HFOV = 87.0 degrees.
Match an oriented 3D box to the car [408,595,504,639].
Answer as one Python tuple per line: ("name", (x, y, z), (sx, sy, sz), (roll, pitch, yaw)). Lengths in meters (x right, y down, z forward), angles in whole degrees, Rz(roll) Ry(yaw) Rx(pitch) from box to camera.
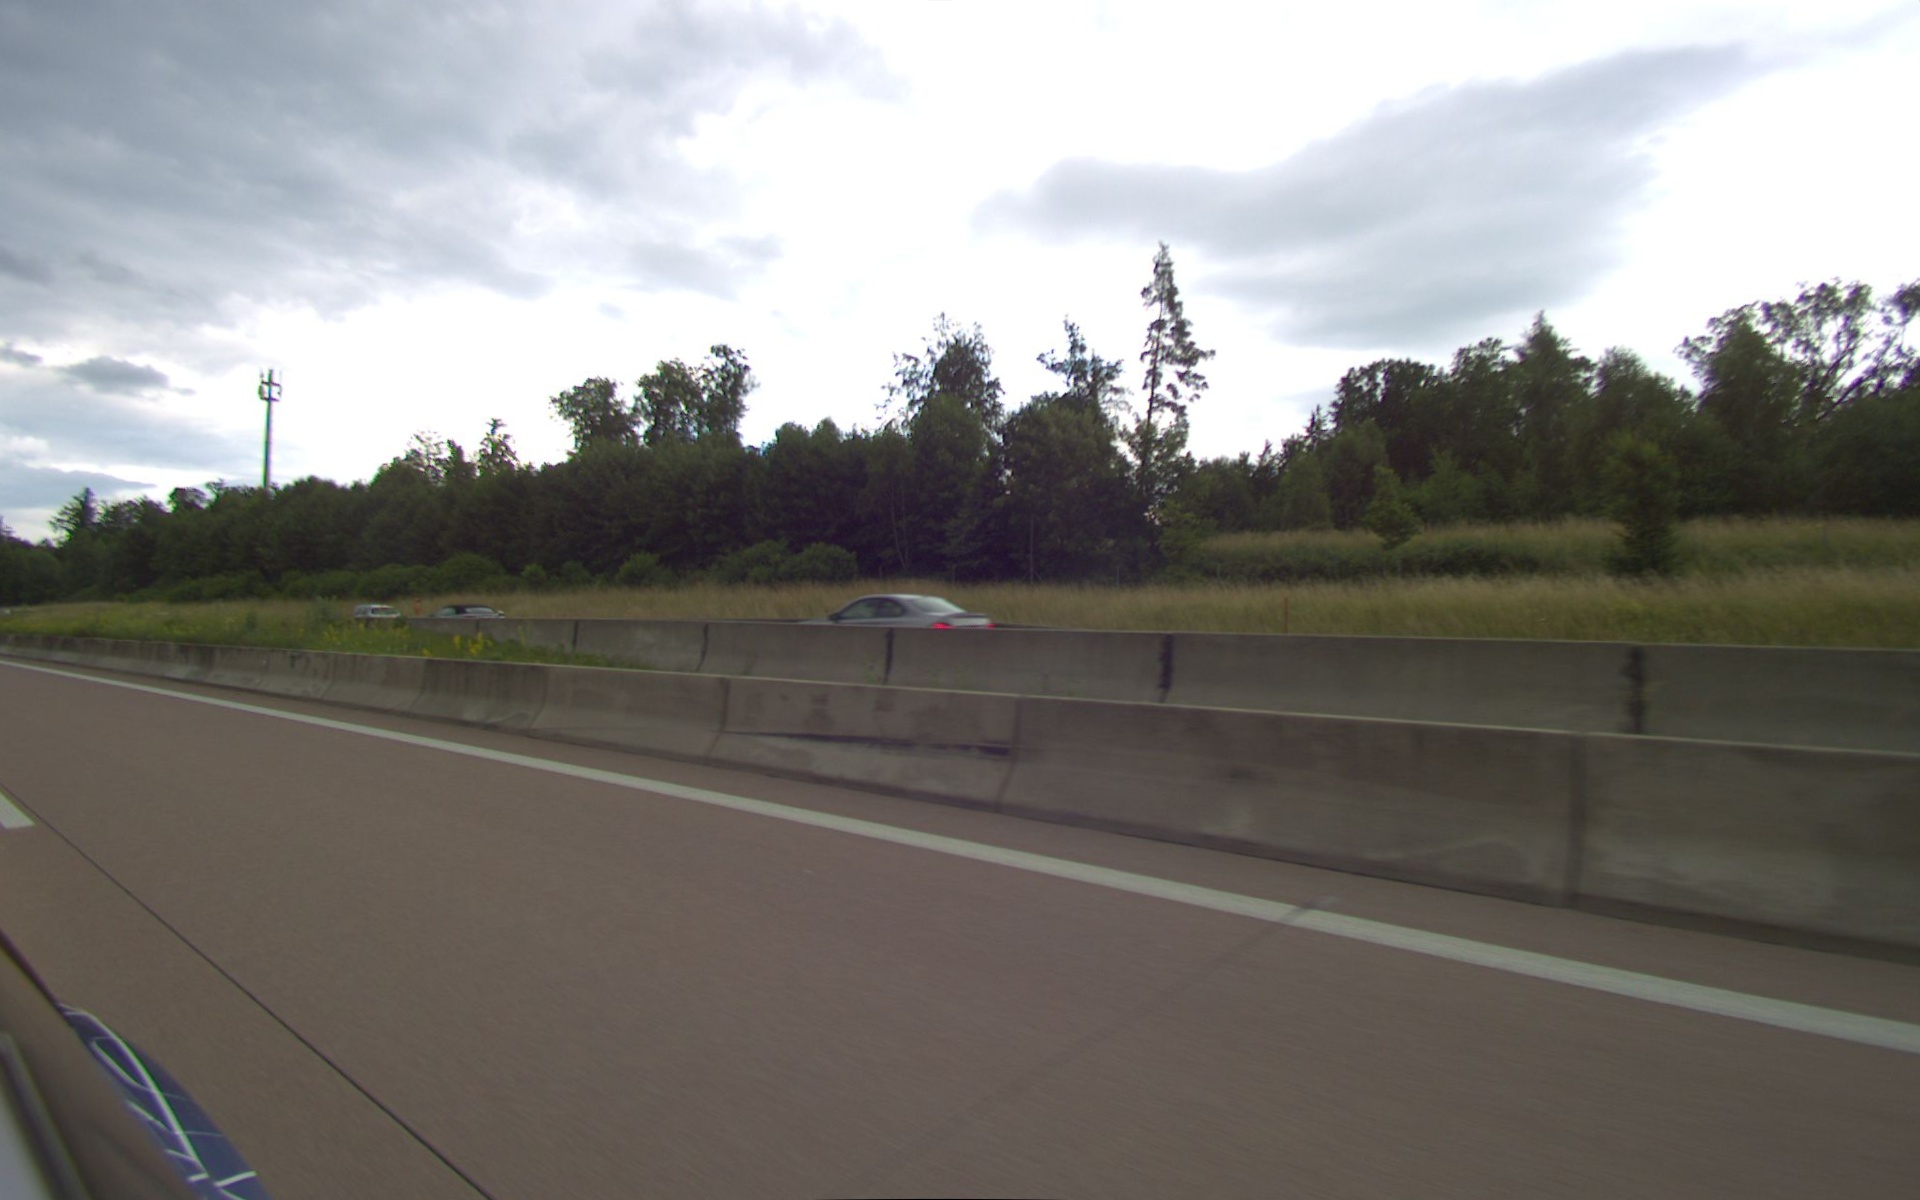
("car", (-18.972, 0.582, 38.034), (4.410, 1.536, 1.714), (0, 1, 42))

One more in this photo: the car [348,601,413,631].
("car", (-31.035, 0.828, 54.141), (4.410, 1.536, 1.714), (0, 1, 42))

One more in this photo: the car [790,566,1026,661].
("car", (-1.018, 0.200, 18.327), (4.240, 1.536, 1.715), (0, 1, 39))
